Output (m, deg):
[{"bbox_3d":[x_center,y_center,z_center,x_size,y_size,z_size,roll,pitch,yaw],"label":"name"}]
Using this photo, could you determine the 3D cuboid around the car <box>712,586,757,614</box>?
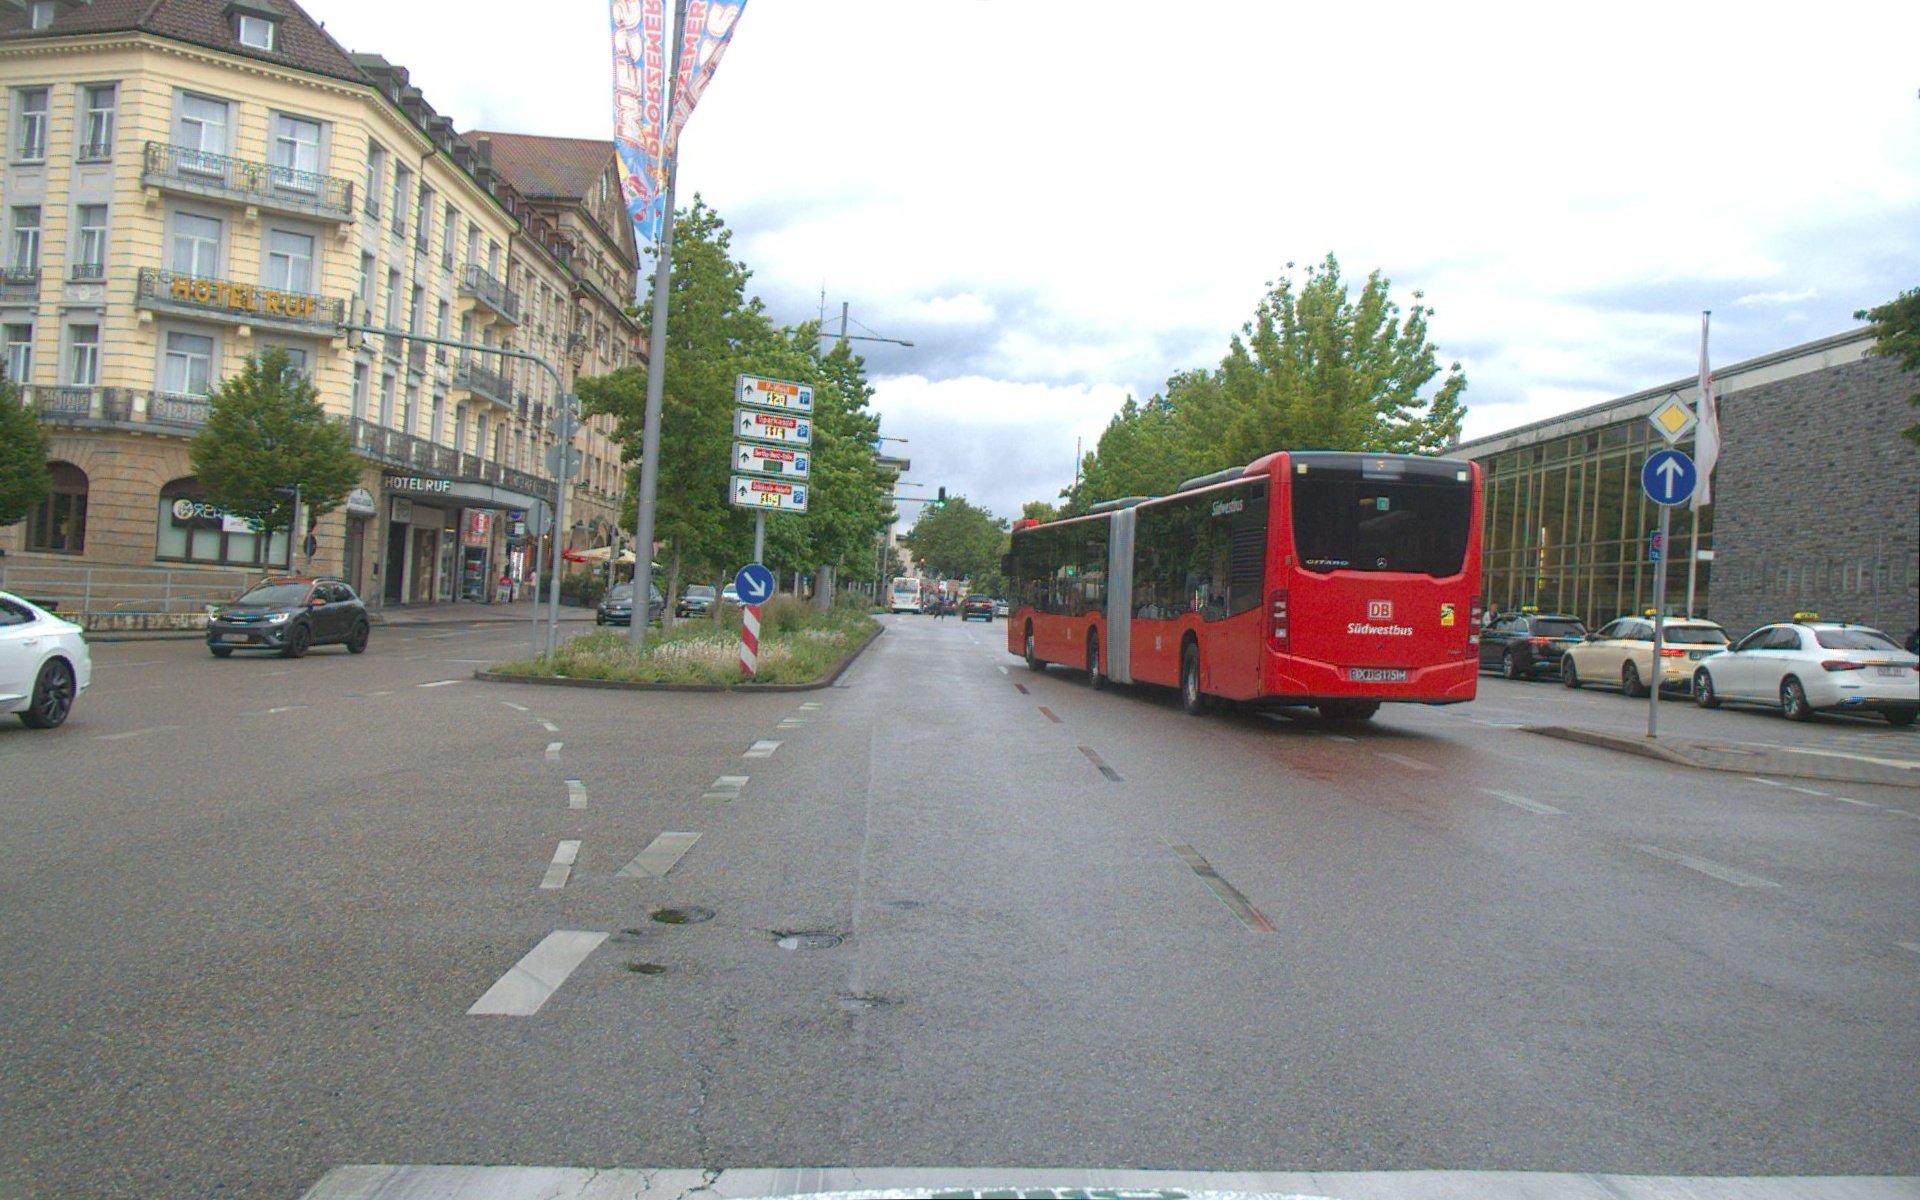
[{"bbox_3d":[-12.097,-0.007,88.903,1.718,1.393,4.061,2,0,2],"label":"car"}]

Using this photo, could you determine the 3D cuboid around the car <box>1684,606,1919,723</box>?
[{"bbox_3d":[13.372,0.946,26.076,1.739,1.617,4.614,1,0,-2],"label":"car"}]

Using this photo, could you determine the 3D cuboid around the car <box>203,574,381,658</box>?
[{"bbox_3d":[-13.206,0.293,32.963,1.596,1.502,4.028,2,0,4],"label":"car"}]

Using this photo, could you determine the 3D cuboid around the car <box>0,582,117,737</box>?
[{"bbox_3d":[-9.782,0.557,15.039,1.689,1.405,4.860,1,1,0],"label":"car"}]

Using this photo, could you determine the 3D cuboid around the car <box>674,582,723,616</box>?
[{"bbox_3d":[-11.593,-0.042,73.523,1.720,1.393,4.057,2,0,-4],"label":"car"}]

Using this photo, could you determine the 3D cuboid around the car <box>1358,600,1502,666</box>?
[{"bbox_3d":[12.550,0.850,44.490,1.956,1.628,4.814,1,0,-8],"label":"car"}]

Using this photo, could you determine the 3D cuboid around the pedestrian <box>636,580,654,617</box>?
[{"bbox_3d":[-14.949,-0.057,78.546,0.661,1.731,0.633,2,0,-1],"label":"pedestrian"}]

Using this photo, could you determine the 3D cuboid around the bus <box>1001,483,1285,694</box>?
[{"bbox_3d":[3.004,-0.196,30.855,2.692,3.229,10.175,1,0,-8],"label":"bus"}]

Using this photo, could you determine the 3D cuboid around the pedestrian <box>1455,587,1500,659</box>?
[{"bbox_3d":[14.965,0.657,47.845,0.801,2.049,0.914,2,0,-25],"label":"pedestrian"}]

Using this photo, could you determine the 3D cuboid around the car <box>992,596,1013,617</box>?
[{"bbox_3d":[4.030,0.638,158.110,1.752,1.892,3.999,2,0,-1],"label":"car"}]

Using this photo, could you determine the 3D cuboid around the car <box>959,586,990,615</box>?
[{"bbox_3d":[0.982,0.013,112.693,1.953,1.837,4.689,1,0,-1],"label":"car"}]

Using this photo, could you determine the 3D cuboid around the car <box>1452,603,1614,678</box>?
[{"bbox_3d":[13.051,0.884,38.013,1.875,1.551,4.740,1,0,-3],"label":"car"}]

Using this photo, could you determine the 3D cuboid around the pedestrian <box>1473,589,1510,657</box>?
[{"bbox_3d":[16.452,0.711,51.175,0.795,2.049,0.921,2,0,-1],"label":"pedestrian"}]

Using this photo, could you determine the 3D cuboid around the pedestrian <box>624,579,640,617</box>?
[{"bbox_3d":[-15.589,-0.096,78.616,0.563,1.762,0.609,2,0,-1],"label":"pedestrian"}]

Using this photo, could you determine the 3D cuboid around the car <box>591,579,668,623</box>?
[{"bbox_3d":[-11.565,0.034,58.136,1.718,1.466,4.061,2,0,2],"label":"car"}]

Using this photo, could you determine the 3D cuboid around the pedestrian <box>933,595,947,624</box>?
[{"bbox_3d":[-1.208,0.558,99.415,0.742,1.730,0.560,2,0,6],"label":"pedestrian"}]

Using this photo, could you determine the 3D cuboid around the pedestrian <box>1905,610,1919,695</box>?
[{"bbox_3d":[19.125,1.036,32.667,0.549,1.662,0.566,2,0,-3],"label":"pedestrian"}]

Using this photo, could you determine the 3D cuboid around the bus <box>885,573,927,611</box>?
[{"bbox_3d":[-5.096,-0.724,155.666,3.684,3.265,15.520,1,0,-2],"label":"bus"}]

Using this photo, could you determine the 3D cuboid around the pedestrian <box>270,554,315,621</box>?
[{"bbox_3d":[-19.462,-0.363,48.212,0.845,1.911,1.022,2,0,-1],"label":"pedestrian"}]

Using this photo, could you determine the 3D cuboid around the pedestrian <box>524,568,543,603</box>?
[{"bbox_3d":[-19.149,-0.662,74.246,0.656,1.537,0.512,2,0,-39],"label":"pedestrian"}]

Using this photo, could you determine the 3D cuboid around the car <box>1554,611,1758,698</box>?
[{"bbox_3d":[13.242,0.989,31.792,1.809,1.477,4.664,1,0,-2],"label":"car"}]

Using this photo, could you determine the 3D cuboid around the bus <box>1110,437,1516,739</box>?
[{"bbox_3d":[4.243,-0.134,22.073,2.691,3.229,8.107,1,0,-8],"label":"bus"}]
